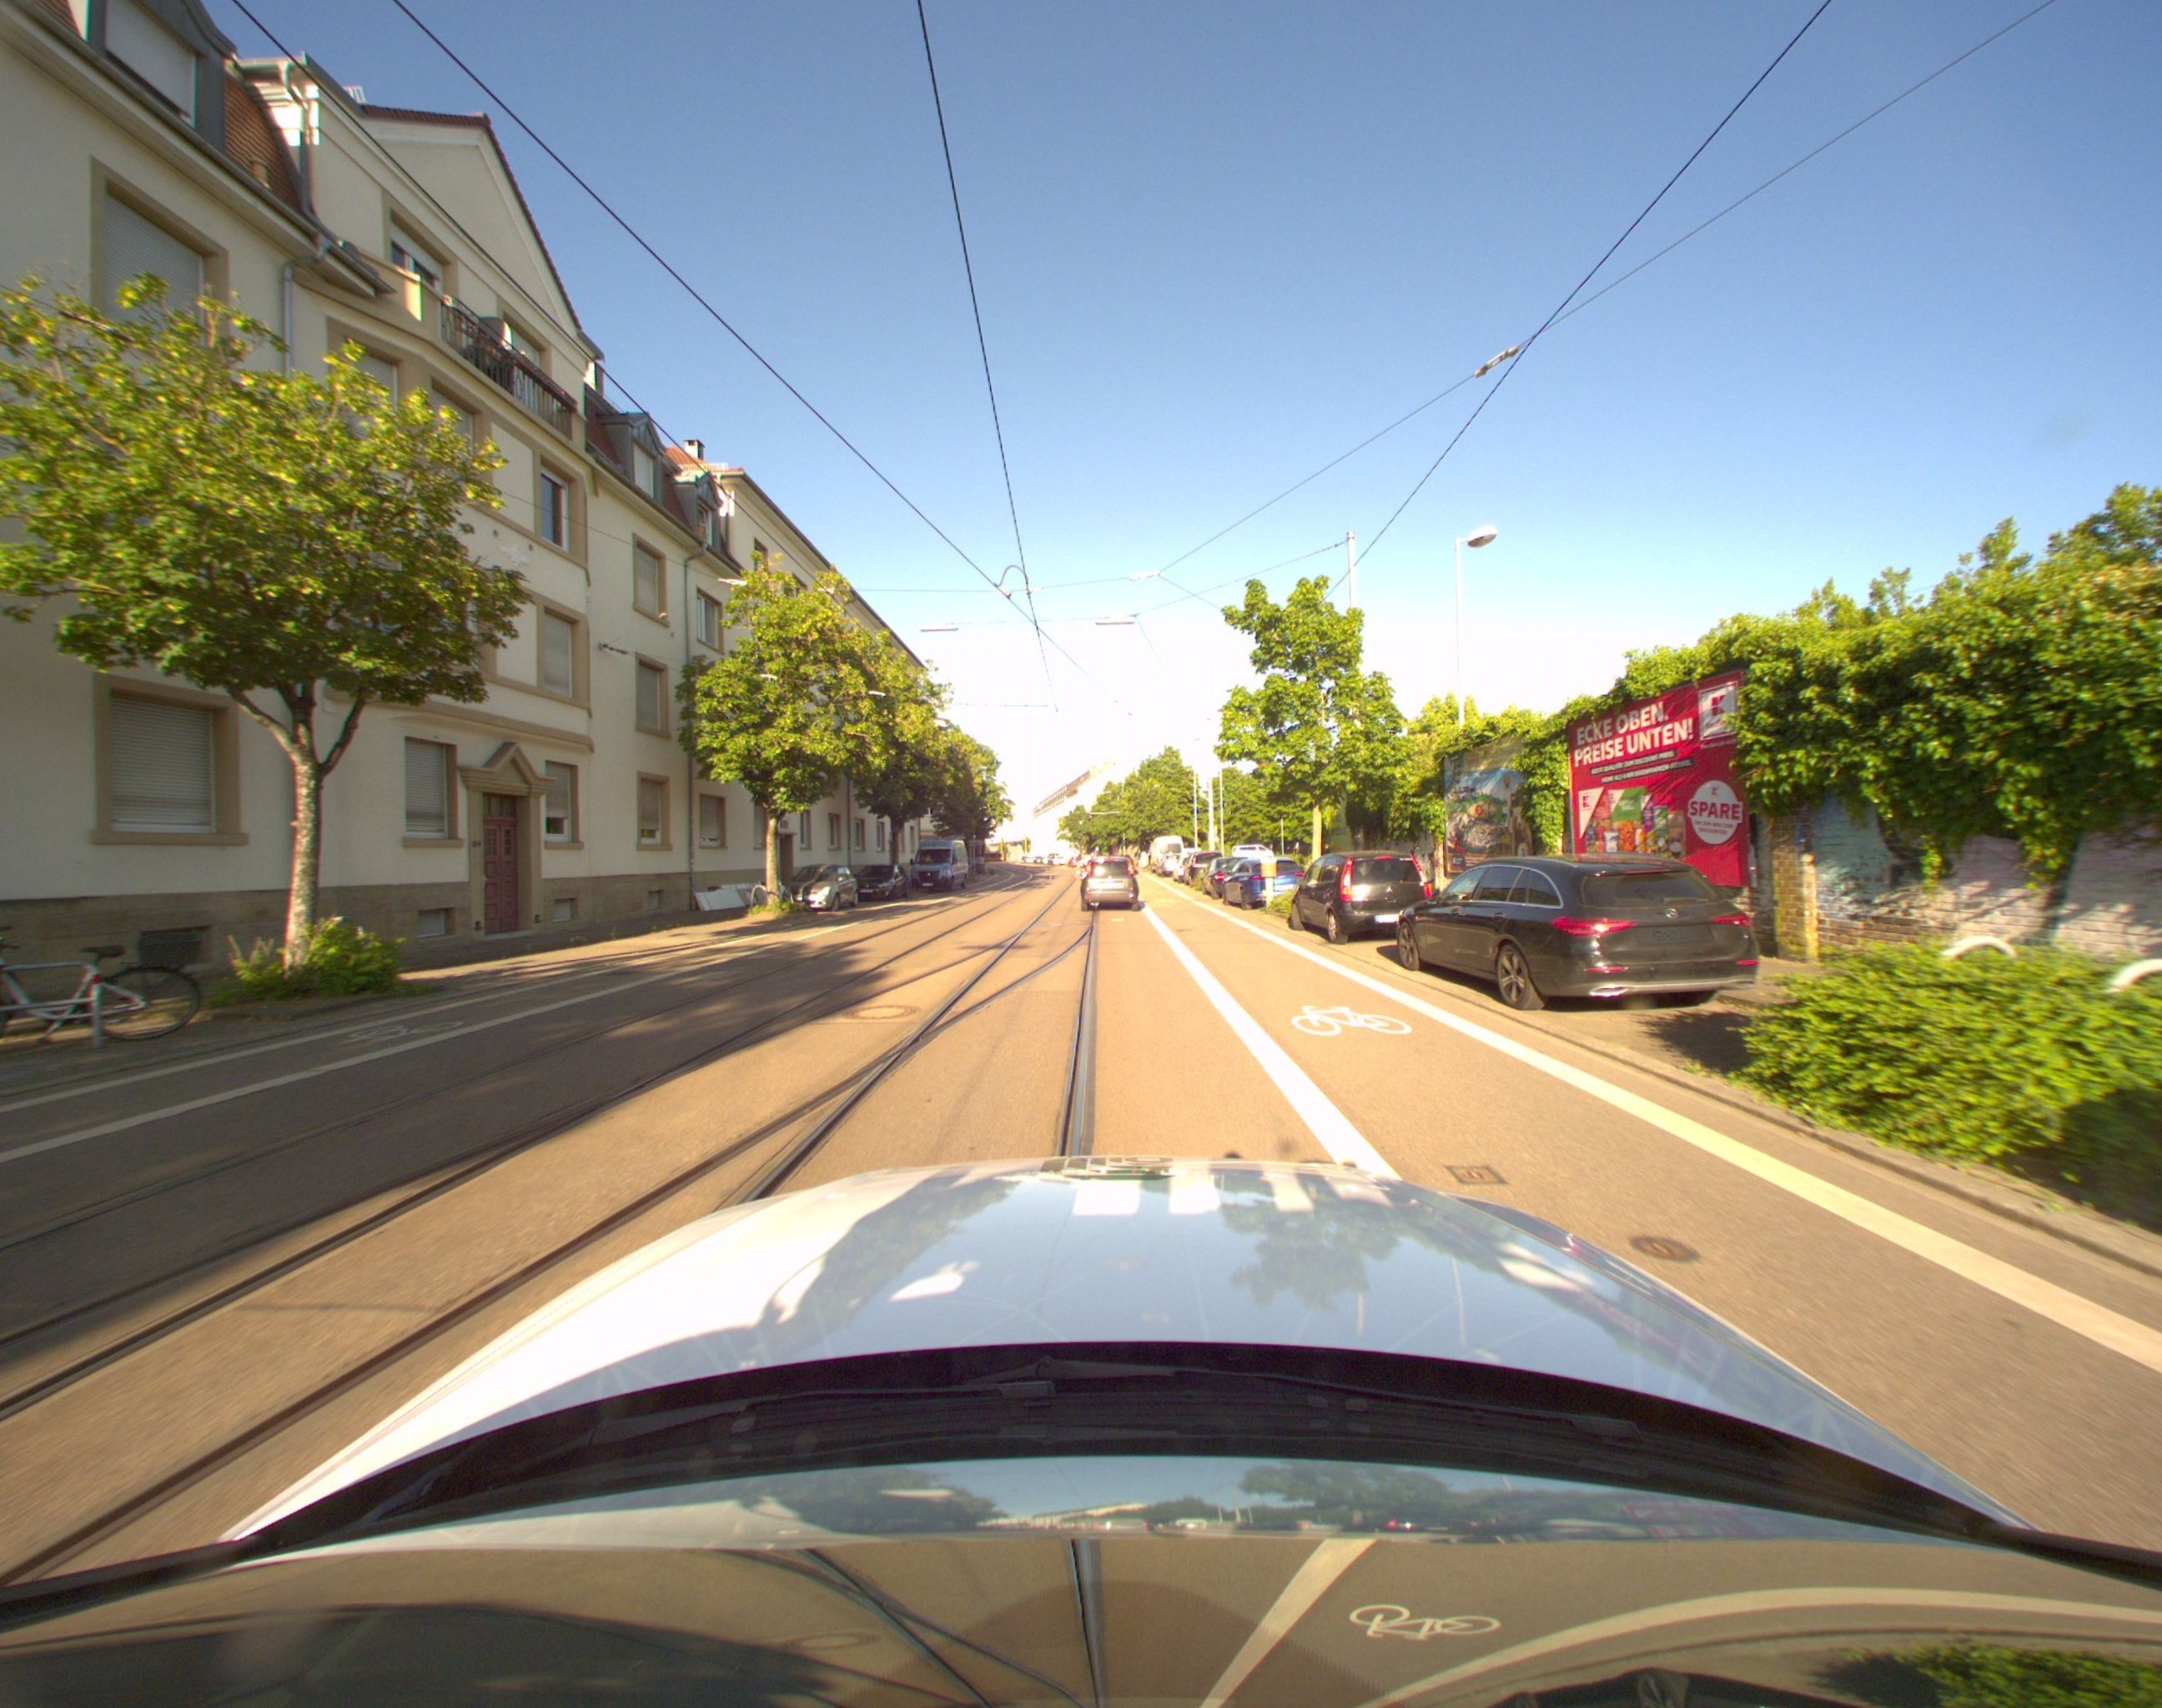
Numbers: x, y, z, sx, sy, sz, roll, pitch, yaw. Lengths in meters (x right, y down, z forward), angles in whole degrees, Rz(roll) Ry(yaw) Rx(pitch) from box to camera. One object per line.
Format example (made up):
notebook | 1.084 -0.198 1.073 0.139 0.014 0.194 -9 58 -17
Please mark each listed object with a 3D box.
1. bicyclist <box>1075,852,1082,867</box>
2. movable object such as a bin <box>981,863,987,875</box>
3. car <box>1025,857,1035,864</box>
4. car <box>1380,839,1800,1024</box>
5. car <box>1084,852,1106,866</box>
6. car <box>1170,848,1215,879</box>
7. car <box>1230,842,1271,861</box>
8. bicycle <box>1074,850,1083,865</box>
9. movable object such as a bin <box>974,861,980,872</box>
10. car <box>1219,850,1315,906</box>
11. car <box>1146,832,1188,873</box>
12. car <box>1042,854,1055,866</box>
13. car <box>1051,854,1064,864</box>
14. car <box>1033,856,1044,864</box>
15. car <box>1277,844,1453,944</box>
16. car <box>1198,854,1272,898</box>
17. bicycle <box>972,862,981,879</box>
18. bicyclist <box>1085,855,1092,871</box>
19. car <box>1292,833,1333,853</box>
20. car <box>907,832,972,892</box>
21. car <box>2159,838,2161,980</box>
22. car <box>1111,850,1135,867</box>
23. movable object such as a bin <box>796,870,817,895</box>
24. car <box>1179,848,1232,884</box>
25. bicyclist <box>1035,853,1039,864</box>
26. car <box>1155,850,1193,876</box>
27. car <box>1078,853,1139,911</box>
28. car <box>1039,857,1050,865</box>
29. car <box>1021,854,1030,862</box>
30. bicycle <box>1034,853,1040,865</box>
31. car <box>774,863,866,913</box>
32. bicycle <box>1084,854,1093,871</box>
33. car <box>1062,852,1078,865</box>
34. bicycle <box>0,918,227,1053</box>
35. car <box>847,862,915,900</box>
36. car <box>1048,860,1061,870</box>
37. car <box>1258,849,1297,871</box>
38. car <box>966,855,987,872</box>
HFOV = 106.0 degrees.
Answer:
bicyclist | -0.307 0.643 95.812 0.699 1.759 0.755 0 -1 -10
movable object such as a bin | -8.411 1.294 70.367 0.484 0.987 0.658 0 0 -6
car | -10.642 1.282 169.846 1.583 1.405 3.365 0 0 -10
car | 4.994 0.639 8.959 1.817 1.452 4.644 -2 0 2
car | 1.604 0.603 94.537 1.690 1.530 3.984 -3 0 -11
car | 5.809 0.485 42.917 1.723 1.512 4.249 0 0 -1
car | 19.989 -0.258 96.013 4.273 2.013 1.771 -3 0 -5
bicycle | -0.281 0.385 95.850 0.675 1.747 2.150 0 0 -9
movable object such as a bin | -8.943 1.067 70.302 0.484 0.987 0.658 0 0 -6
car | 5.262 0.645 23.599 1.723 1.464 4.338 0 0 -1
car | 6.130 -0.062 58.769 2.173 2.665 6.090 -4 0 0
car | -5.739 1.074 143.062 1.655 1.944 4.649 0 0 -9
car | -3.727 0.793 127.585 1.655 1.571 3.488 0 0 -9
car | -8.217 1.123 157.345 1.583 1.405 3.365 -5 0 -10
car | 5.010 0.642 14.973 1.819 1.492 3.813 -3 0 0
car | 5.475 0.755 29.440 1.723 1.464 4.495 0 0 -1
bicycle | -7.024 1.119 54.805 0.511 1.134 2.027 0 0 -6
bicyclist | 0.792 0.943 86.283 0.699 1.759 0.755 0 -1 -10
car | 27.974 -1.374 98.330 4.189 2.241 2.135 -2 0 -11
car | -7.082 0.372 41.461 2.009 2.826 6.035 0 0 2
car | 4.716 0.668 0.616 1.817 1.484 4.604 0 0 2
car | 3.968 0.400 78.125 1.686 1.530 3.992 -3 0 -5
movable object such as a bin | -10.936 1.138 32.473 0.594 0.934 0.568 -2 0 -2
car | 5.776 0.537 38.126 1.723 1.604 4.340 0 0 -1
bicyclist | -7.764 0.846 144.196 0.715 2.014 0.829 0 -1 -10
car | 5.891 0.576 52.072 1.904 1.529 4.600 -2 0 0
car | 0.785 0.756 24.058 1.644 1.541 4.235 0 0 1
car | -6.691 1.297 148.895 1.655 1.500 3.119 0 0 -9
car | -12.411 0.898 181.773 1.583 1.599 3.365 0 0 -10
bicycle | -7.767 0.868 144.132 0.741 2.014 2.802 0 0 -9
car | -8.578 1.079 27.142 1.645 1.491 4.001 0 0 2
bicycle | 0.792 0.874 86.261 0.675 1.747 2.150 0 0 -9
car | -1.429 0.600 109.408 1.635 1.508 3.387 -4 0 -8
bicycle | -9.132 1.166 7.310 1.998 1.040 0.526 0 -1 -45
car | -8.141 1.044 33.457 1.645 1.425 4.191 0 0 2
car | -4.261 1.829 131.920 1.655 1.571 3.863 0 0 -9
car | 10.059 0.305 41.827 1.305 1.033 3.056 0 0 0
car | -9.602 0.855 74.971 1.686 1.530 3.993 0 0 -5
